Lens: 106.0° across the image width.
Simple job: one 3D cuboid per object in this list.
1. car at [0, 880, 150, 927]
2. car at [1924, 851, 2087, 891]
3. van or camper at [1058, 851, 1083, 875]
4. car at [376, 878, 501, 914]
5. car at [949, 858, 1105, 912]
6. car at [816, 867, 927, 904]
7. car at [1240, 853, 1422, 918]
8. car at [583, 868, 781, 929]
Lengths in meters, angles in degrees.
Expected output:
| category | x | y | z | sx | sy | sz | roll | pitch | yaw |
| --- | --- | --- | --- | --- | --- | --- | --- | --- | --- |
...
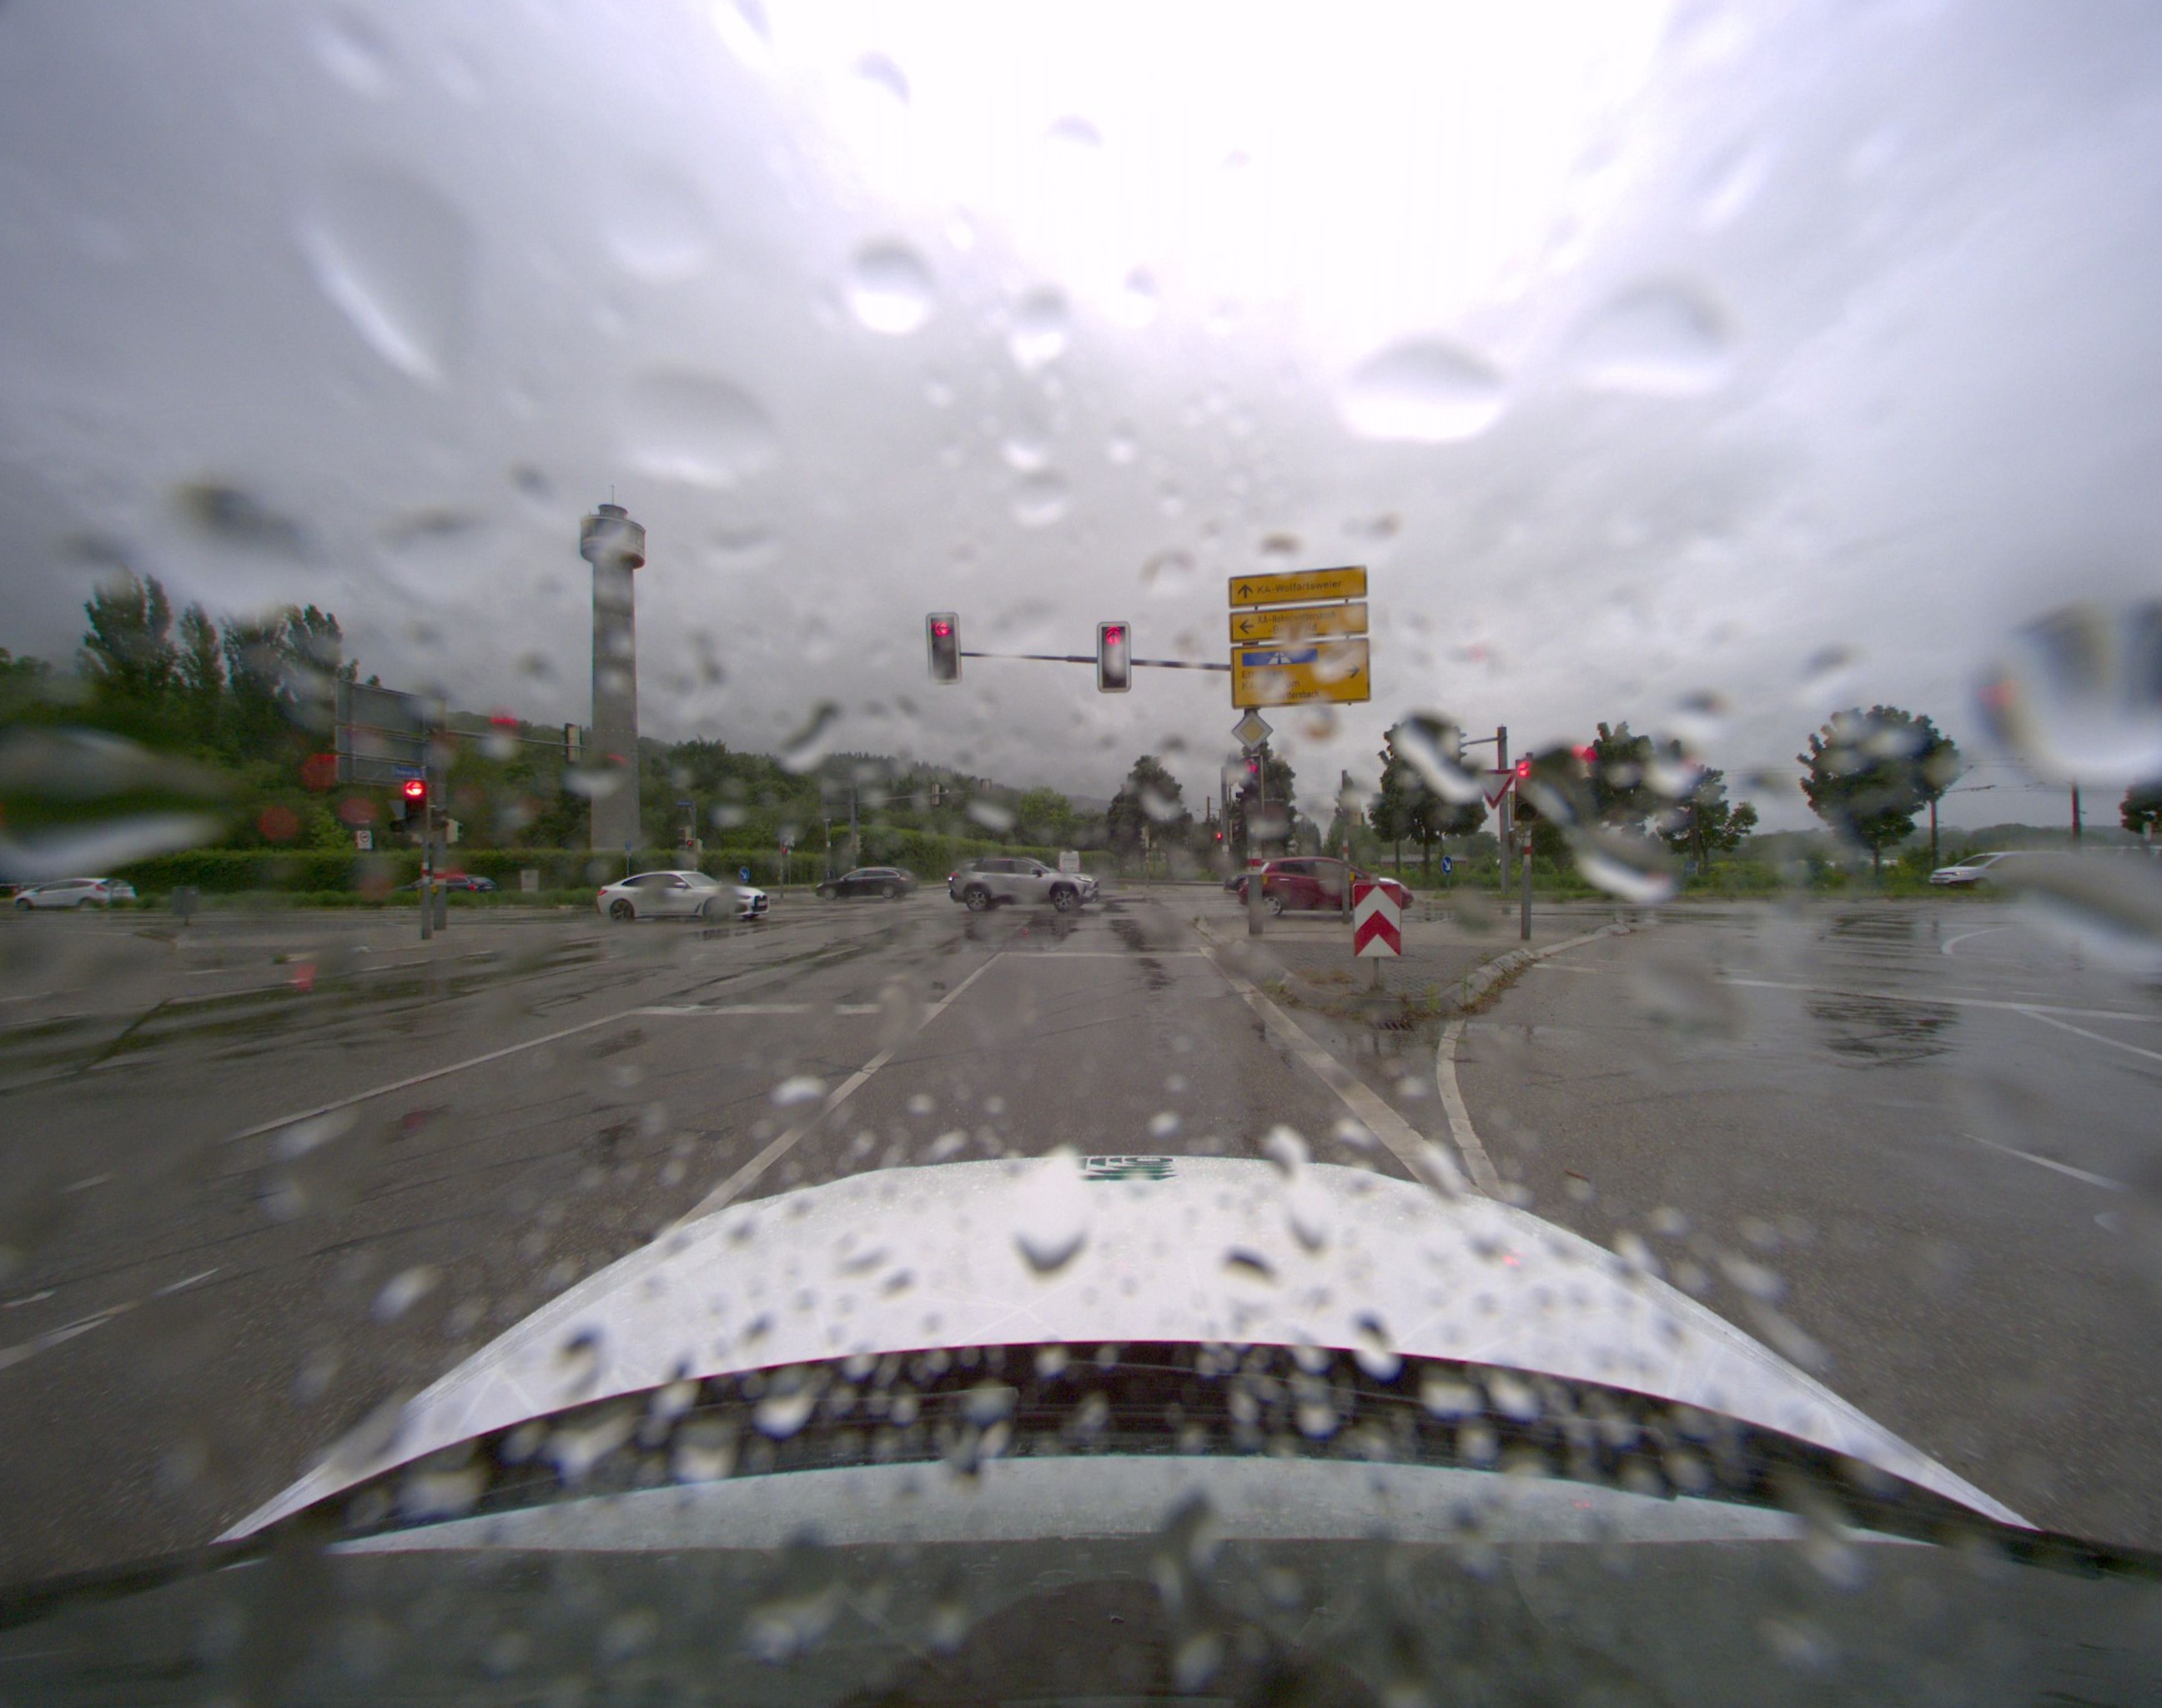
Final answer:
| category | x | y | z | sx | sy | sz | roll | pitch | yaw |
| --- | --- | --- | --- | --- | --- | --- | --- | --- | --- |
| car | -46.824 | 2.282 | 37.774 | 4.664 | 1.915 | 1.911 | -2 | 0 | -7 |
| car | 39.153 | 0.716 | 34.599 | 4.303 | 1.553 | 1.829 | -2 | 0 | 13 |
| van or camper | -0.958 | 0.869 | 77.162 | 2.145 | 2.169 | 4.866 | -1 | 0 | 1 |
| car | -30.917 | 2.015 | 39.278 | 4.650 | 1.553 | 1.824 | -2 | 0 | 3 |
| car | -1.628 | 0.932 | 25.386 | 4.500 | 1.579 | 1.917 | 0 | 0 | 9 |
| car | -9.834 | 1.455 | 38.406 | 4.648 | 1.553 | 1.825 | -2 | 0 | 4 |
| car | 6.420 | 0.792 | 21.328 | 4.350 | 1.579 | 1.736 | -1 | 0 | 8 |
| car | -11.339 | 1.248 | 23.270 | 4.853 | 1.553 | 1.804 | -2 | 0 | 9 |
